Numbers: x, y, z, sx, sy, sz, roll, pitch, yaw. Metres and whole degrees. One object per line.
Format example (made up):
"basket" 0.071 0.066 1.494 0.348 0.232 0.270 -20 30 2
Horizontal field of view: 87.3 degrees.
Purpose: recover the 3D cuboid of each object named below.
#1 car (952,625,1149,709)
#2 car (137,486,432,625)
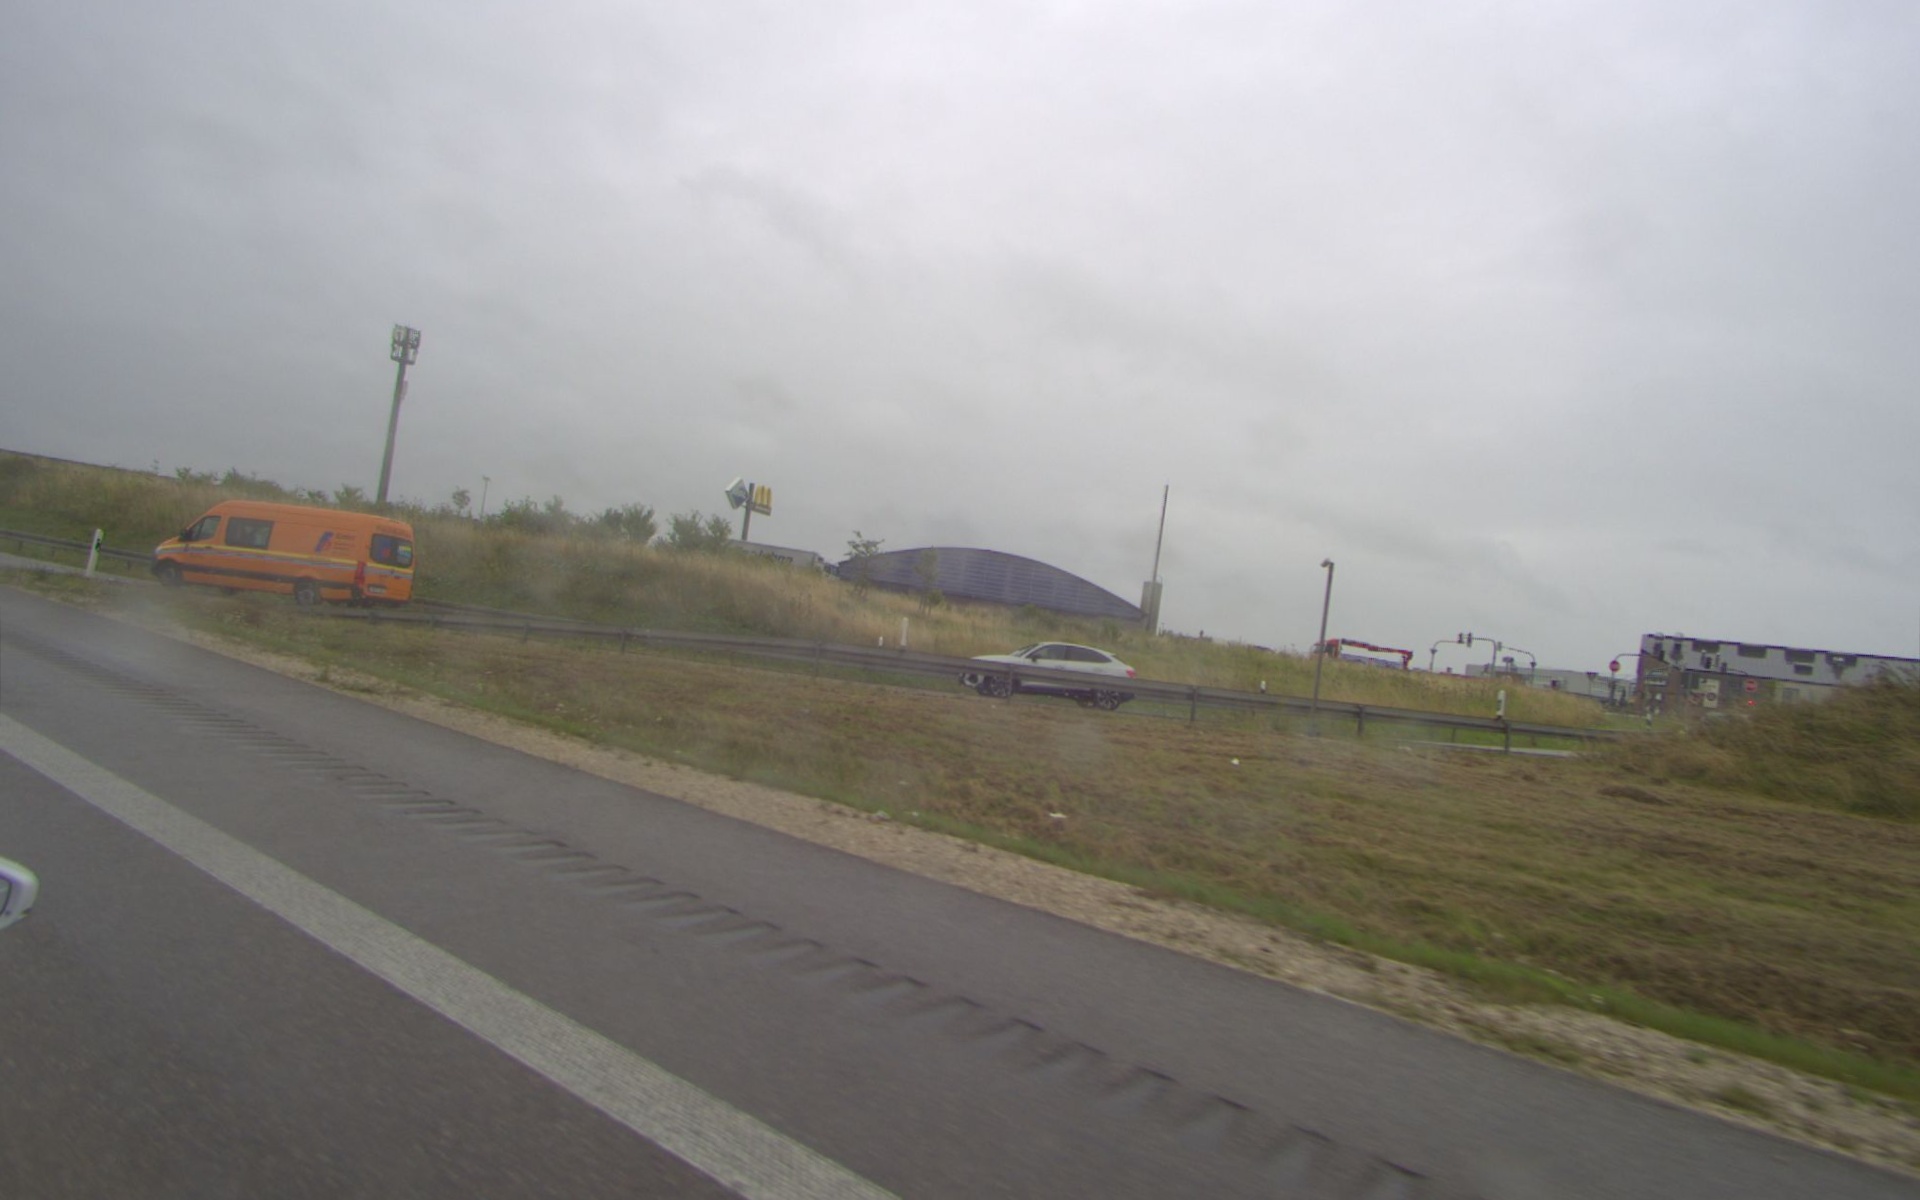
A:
"car" 2.191 1.641 24.921 4.403 1.502 1.913 7 -3 -10
"car" -18.145 -1.173 27.127 6.755 2.644 2.071 8 -2 9
